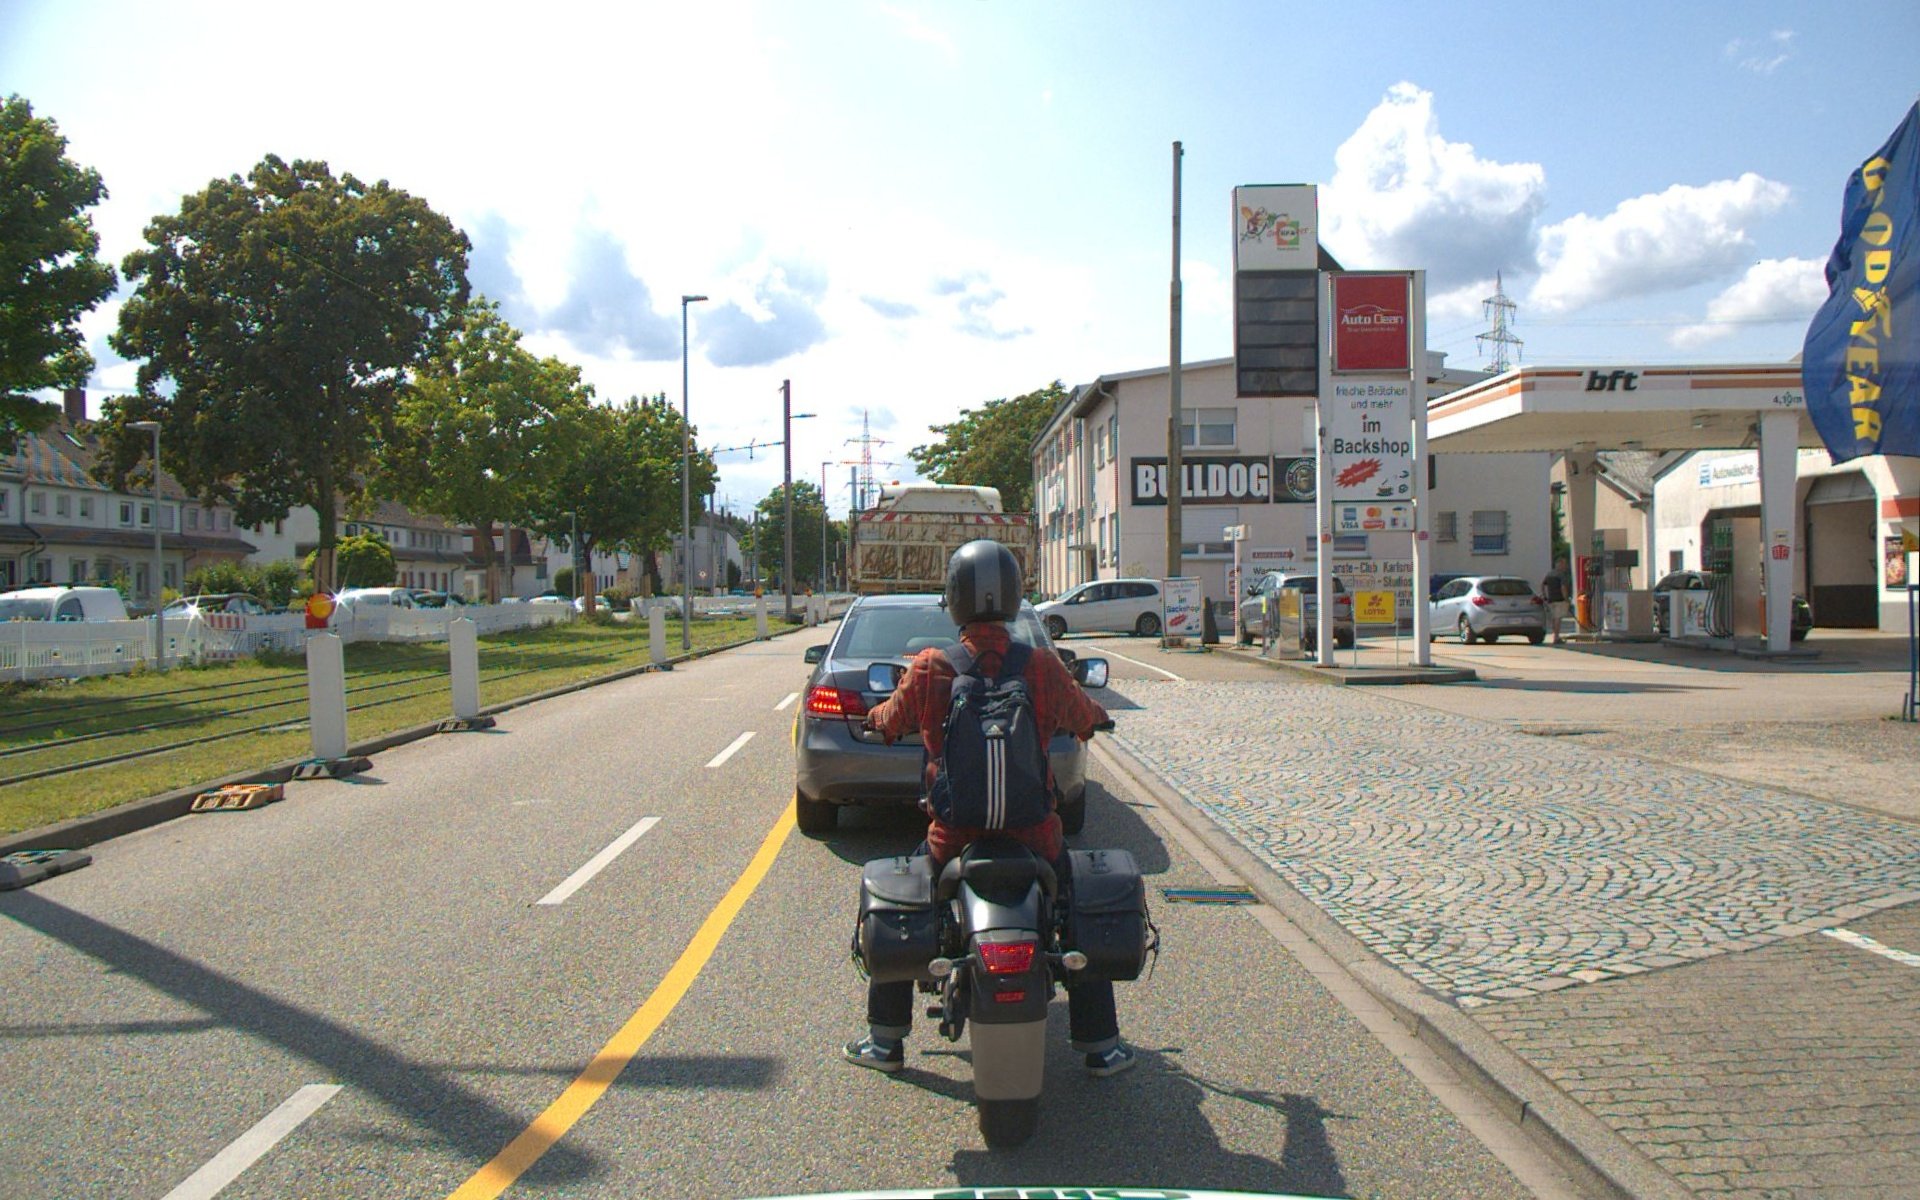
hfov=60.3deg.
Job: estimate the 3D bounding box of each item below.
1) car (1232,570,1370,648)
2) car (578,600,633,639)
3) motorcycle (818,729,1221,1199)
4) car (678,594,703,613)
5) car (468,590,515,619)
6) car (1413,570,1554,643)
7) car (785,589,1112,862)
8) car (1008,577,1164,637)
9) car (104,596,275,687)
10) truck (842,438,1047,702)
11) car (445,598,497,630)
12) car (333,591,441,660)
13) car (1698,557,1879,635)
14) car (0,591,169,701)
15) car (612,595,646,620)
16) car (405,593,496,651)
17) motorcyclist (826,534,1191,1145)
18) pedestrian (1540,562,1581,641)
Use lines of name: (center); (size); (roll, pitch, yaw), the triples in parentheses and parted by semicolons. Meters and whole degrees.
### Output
car: (7.461, 0.177, 36.632); (1.636, 1.589, 4.236); (-1, 0, -8)
car: (-17.052, 0.913, 79.686); (1.740, 1.753, 4.127); (-1, 0, -1)
motorcycle: (0.127, 0.996, 5.324); (0.959, 0.913, 2.653); (-1, 0, -1)
car: (-26.076, 0.291, 160.259); (1.740, 1.753, 4.250); (-1, 0, -1)
car: (-29.423, 0.280, 103.952); (1.740, 1.753, 4.127); (-1, 0, -1)
car: (11.725, 0.120, 37.267); (1.770, 1.529, 3.831); (-1, 0, -3)
car: (-0.089, 0.682, 11.167); (1.786, 1.478, 3.999); (1, 0, -1)
car: (3.570, 0.186, 47.091); (4.152, 1.570, 1.669); (-1, 0, -9)
car: (-16.669, 0.847, 36.026); (1.740, 1.805, 4.227); (-1, 0, -1)
truck: (-0.260, -0.422, 25.366); (2.585, 3.354, 8.055); (-1, 0, -1)
car: (-28.297, 0.782, 95.835); (1.740, 1.753, 4.127); (-1, 0, -1)
car: (-16.937, 0.717, 49.083); (1.740, 1.900, 4.127); (-1, 0, -1)
car: (17.404, -0.095, 34.934); (1.770, 1.529, 3.832); (-1, 0, -3)
car: (-16.462, 0.786, 30.389); (1.740, 1.853, 4.363); (-1, 0, -1)
car: (-24.962, 0.553, 124.852); (1.740, 1.753, 4.127); (-1, 0, -1)
car: (-16.969, 0.702, 55.261); (1.740, 1.837, 4.127); (-1, 0, -1)
motorcyclist: (0.125, 0.642, 5.018); (0.959, 1.630, 1.087); (-1, 0, -1)
pedestrian: (12.957, 0.031, 35.713); (0.696, 1.685, 0.546); (-1, 0, 35)
